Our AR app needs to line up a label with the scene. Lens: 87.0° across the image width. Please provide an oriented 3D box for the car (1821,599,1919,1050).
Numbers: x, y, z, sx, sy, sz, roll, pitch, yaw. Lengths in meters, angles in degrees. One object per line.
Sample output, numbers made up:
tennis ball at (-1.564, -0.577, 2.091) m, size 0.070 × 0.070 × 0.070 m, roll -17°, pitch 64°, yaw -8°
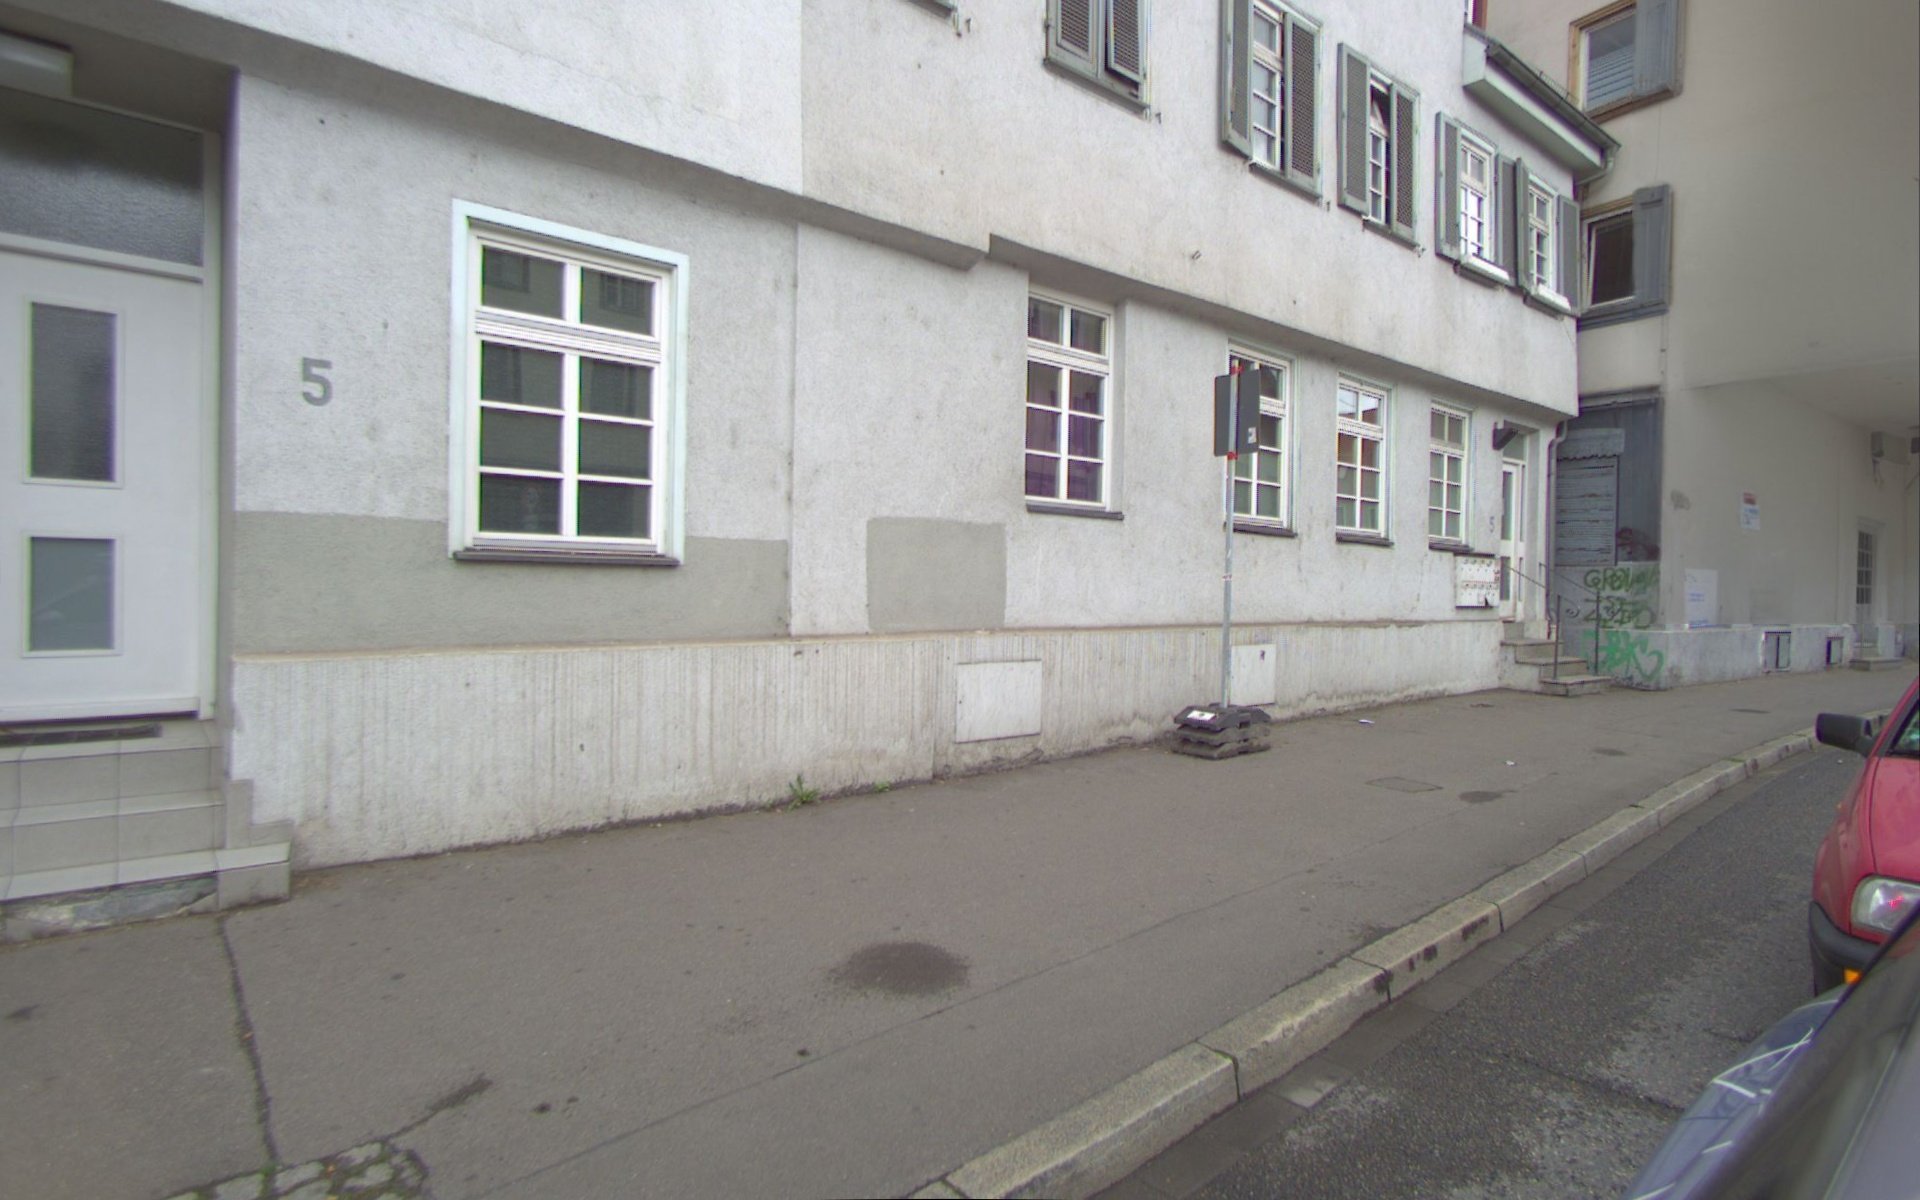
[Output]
car at (5.084, 0.734, 4.118) m, size 3.930 × 1.485 × 1.802 m, roll 0°, pitch -2°, yaw -41°
